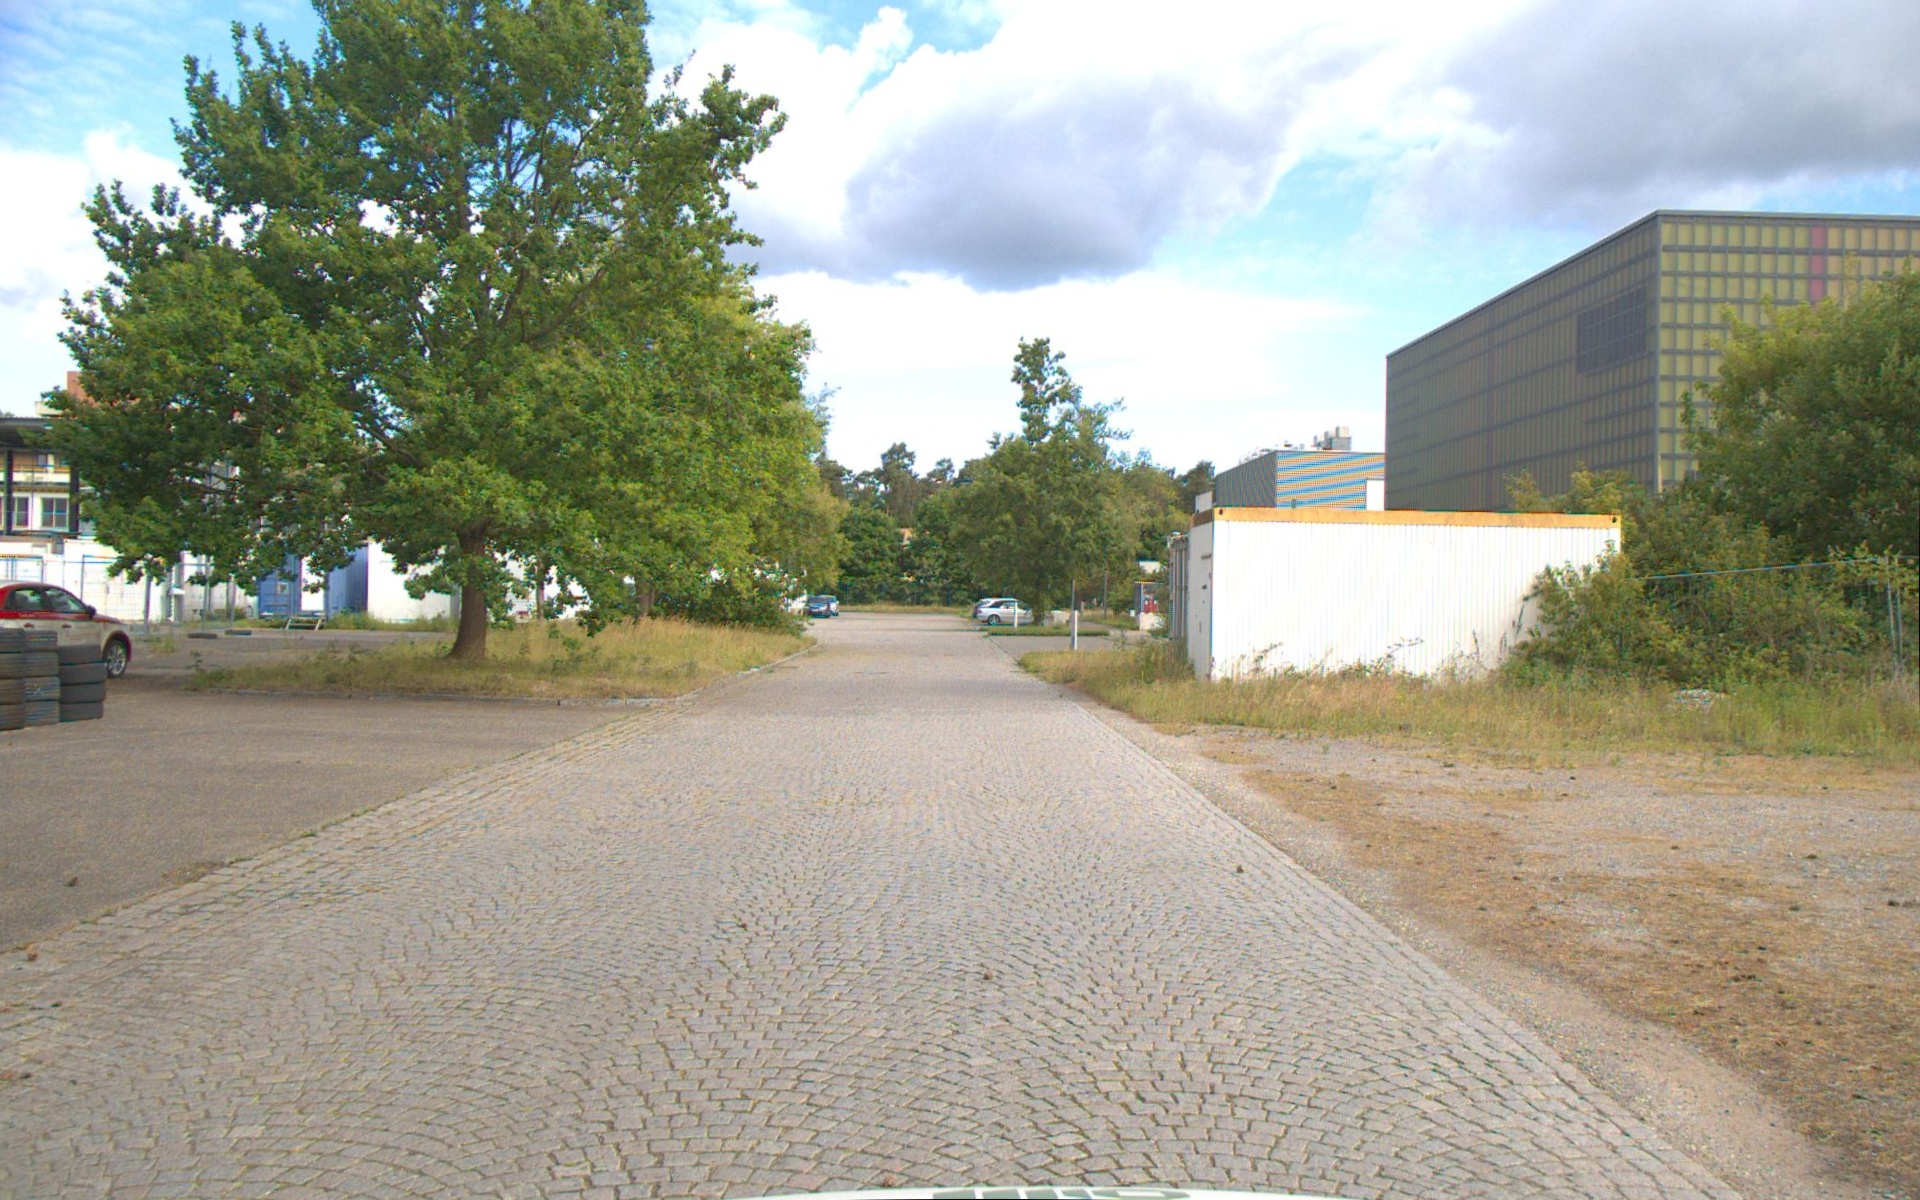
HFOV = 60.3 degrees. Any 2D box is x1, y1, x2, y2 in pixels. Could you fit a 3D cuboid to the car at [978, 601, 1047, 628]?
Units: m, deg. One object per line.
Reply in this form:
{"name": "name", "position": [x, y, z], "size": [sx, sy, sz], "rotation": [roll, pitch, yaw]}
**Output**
{"name": "car", "position": [3.017, 0.816, 95.874], "size": [3.903, 1.473, 1.653], "rotation": [-1, 0, -1]}

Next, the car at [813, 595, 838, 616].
{"name": "car", "position": [-10.149, 0.410, 124.772], "size": [1.614, 1.484, 3.997], "rotation": [1, 0, -1]}

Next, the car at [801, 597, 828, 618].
{"name": "car", "position": [-10.047, 0.491, 114.431], "size": [1.614, 1.393, 3.997], "rotation": [1, 0, -1]}

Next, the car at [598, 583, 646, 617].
{"name": "car", "position": [-20.830, -0.013, 102.147], "size": [1.953, 2.049, 4.766], "rotation": [1, 0, -1]}

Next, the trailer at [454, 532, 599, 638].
{"name": "trailer", "position": [-16.145, -0.524, 62.412], "size": [2.571, 3.661, 10.178], "rotation": [1, 0, 1]}

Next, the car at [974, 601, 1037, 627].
{"name": "car", "position": [2.537, 0.782, 93.169], "size": [3.451, 1.386, 1.622], "rotation": [-1, 0, -1]}

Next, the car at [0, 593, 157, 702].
{"name": "car", "position": [-13.805, 0.640, 24.484], "size": [1.591, 1.458, 4.066], "rotation": [1, 1, 4]}
